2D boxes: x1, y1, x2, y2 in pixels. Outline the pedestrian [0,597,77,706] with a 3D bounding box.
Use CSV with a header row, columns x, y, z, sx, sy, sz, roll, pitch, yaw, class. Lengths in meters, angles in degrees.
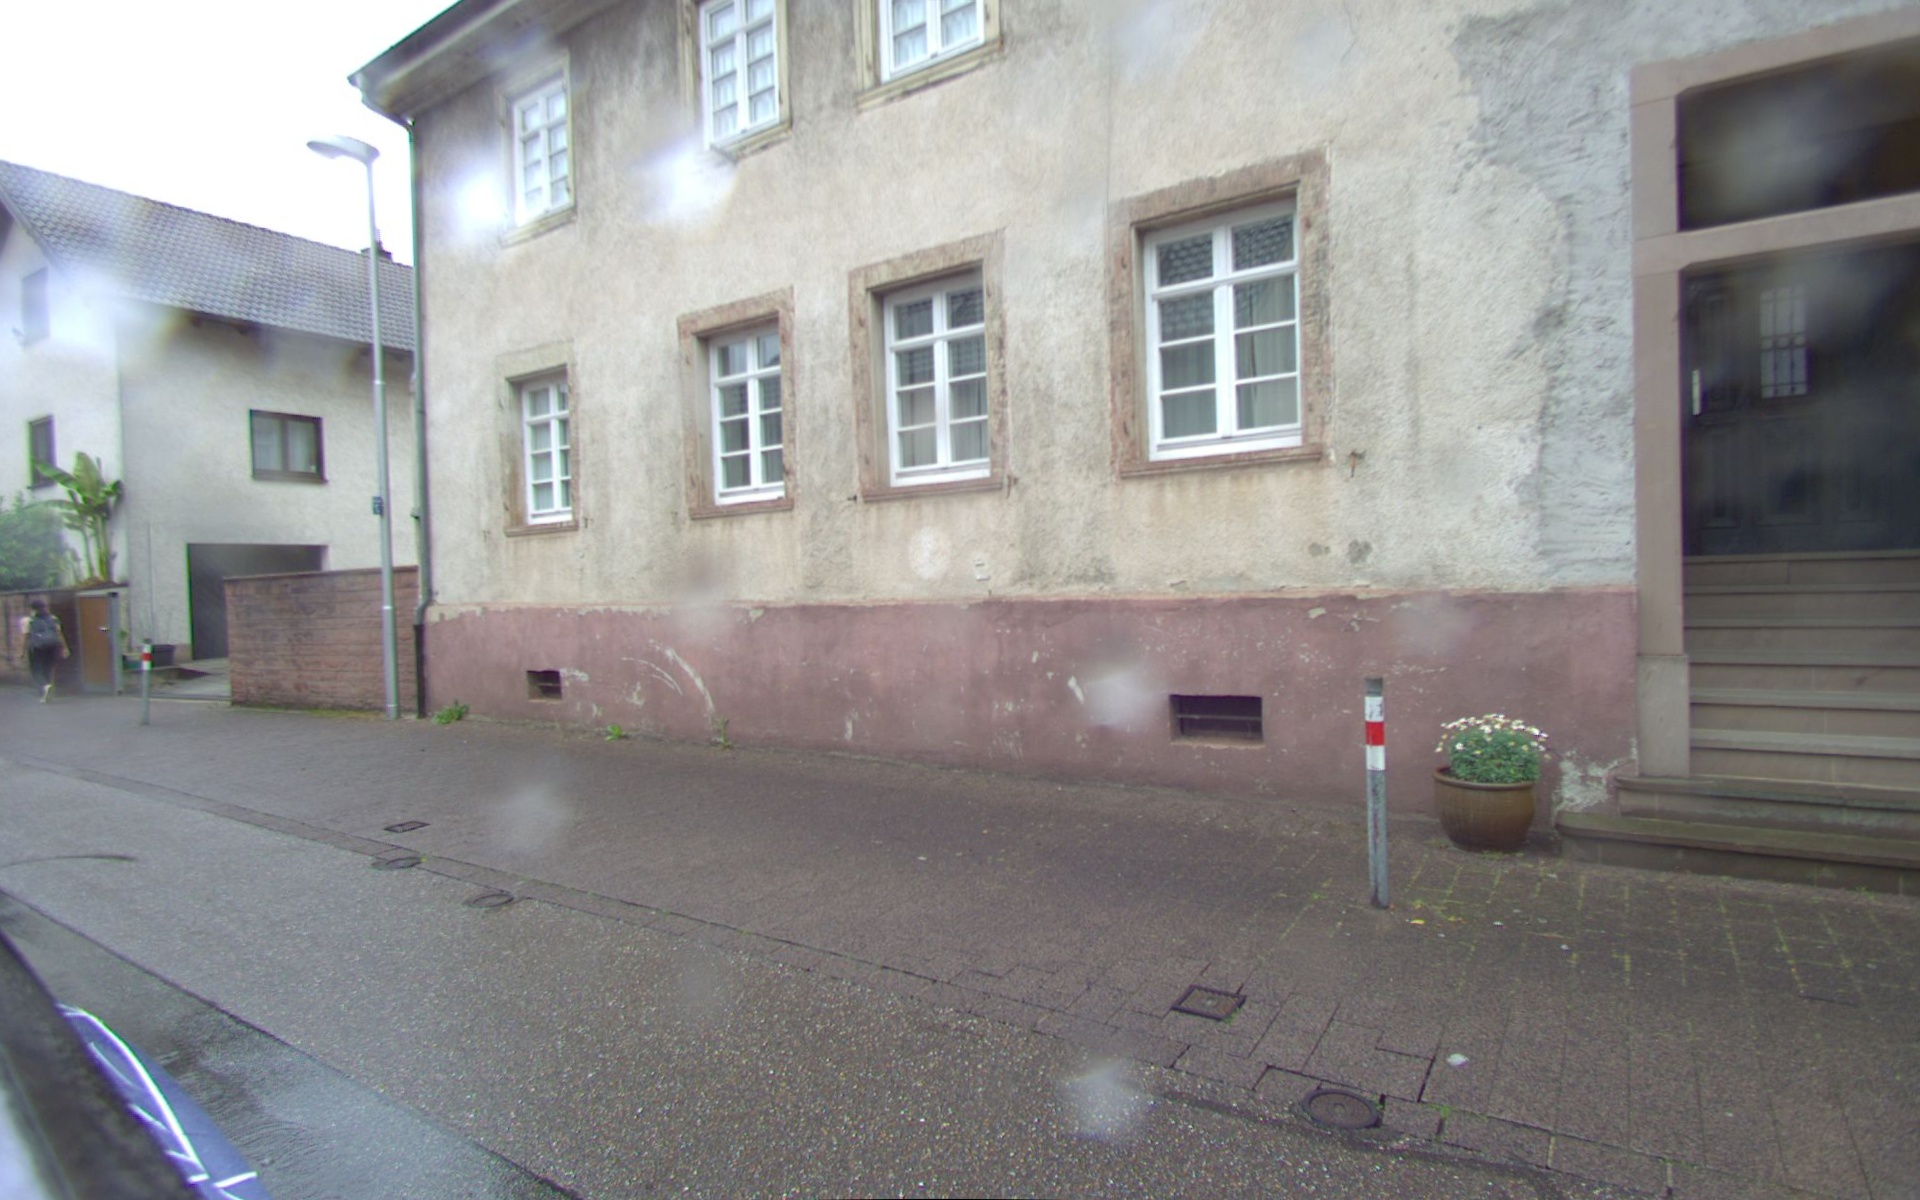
x,y,z,sx,sy,sz,roll,pitch,yaw,class
-13.704,0.753,15.022,0.829,1.549,0.568,-1,2,29,pedestrian
